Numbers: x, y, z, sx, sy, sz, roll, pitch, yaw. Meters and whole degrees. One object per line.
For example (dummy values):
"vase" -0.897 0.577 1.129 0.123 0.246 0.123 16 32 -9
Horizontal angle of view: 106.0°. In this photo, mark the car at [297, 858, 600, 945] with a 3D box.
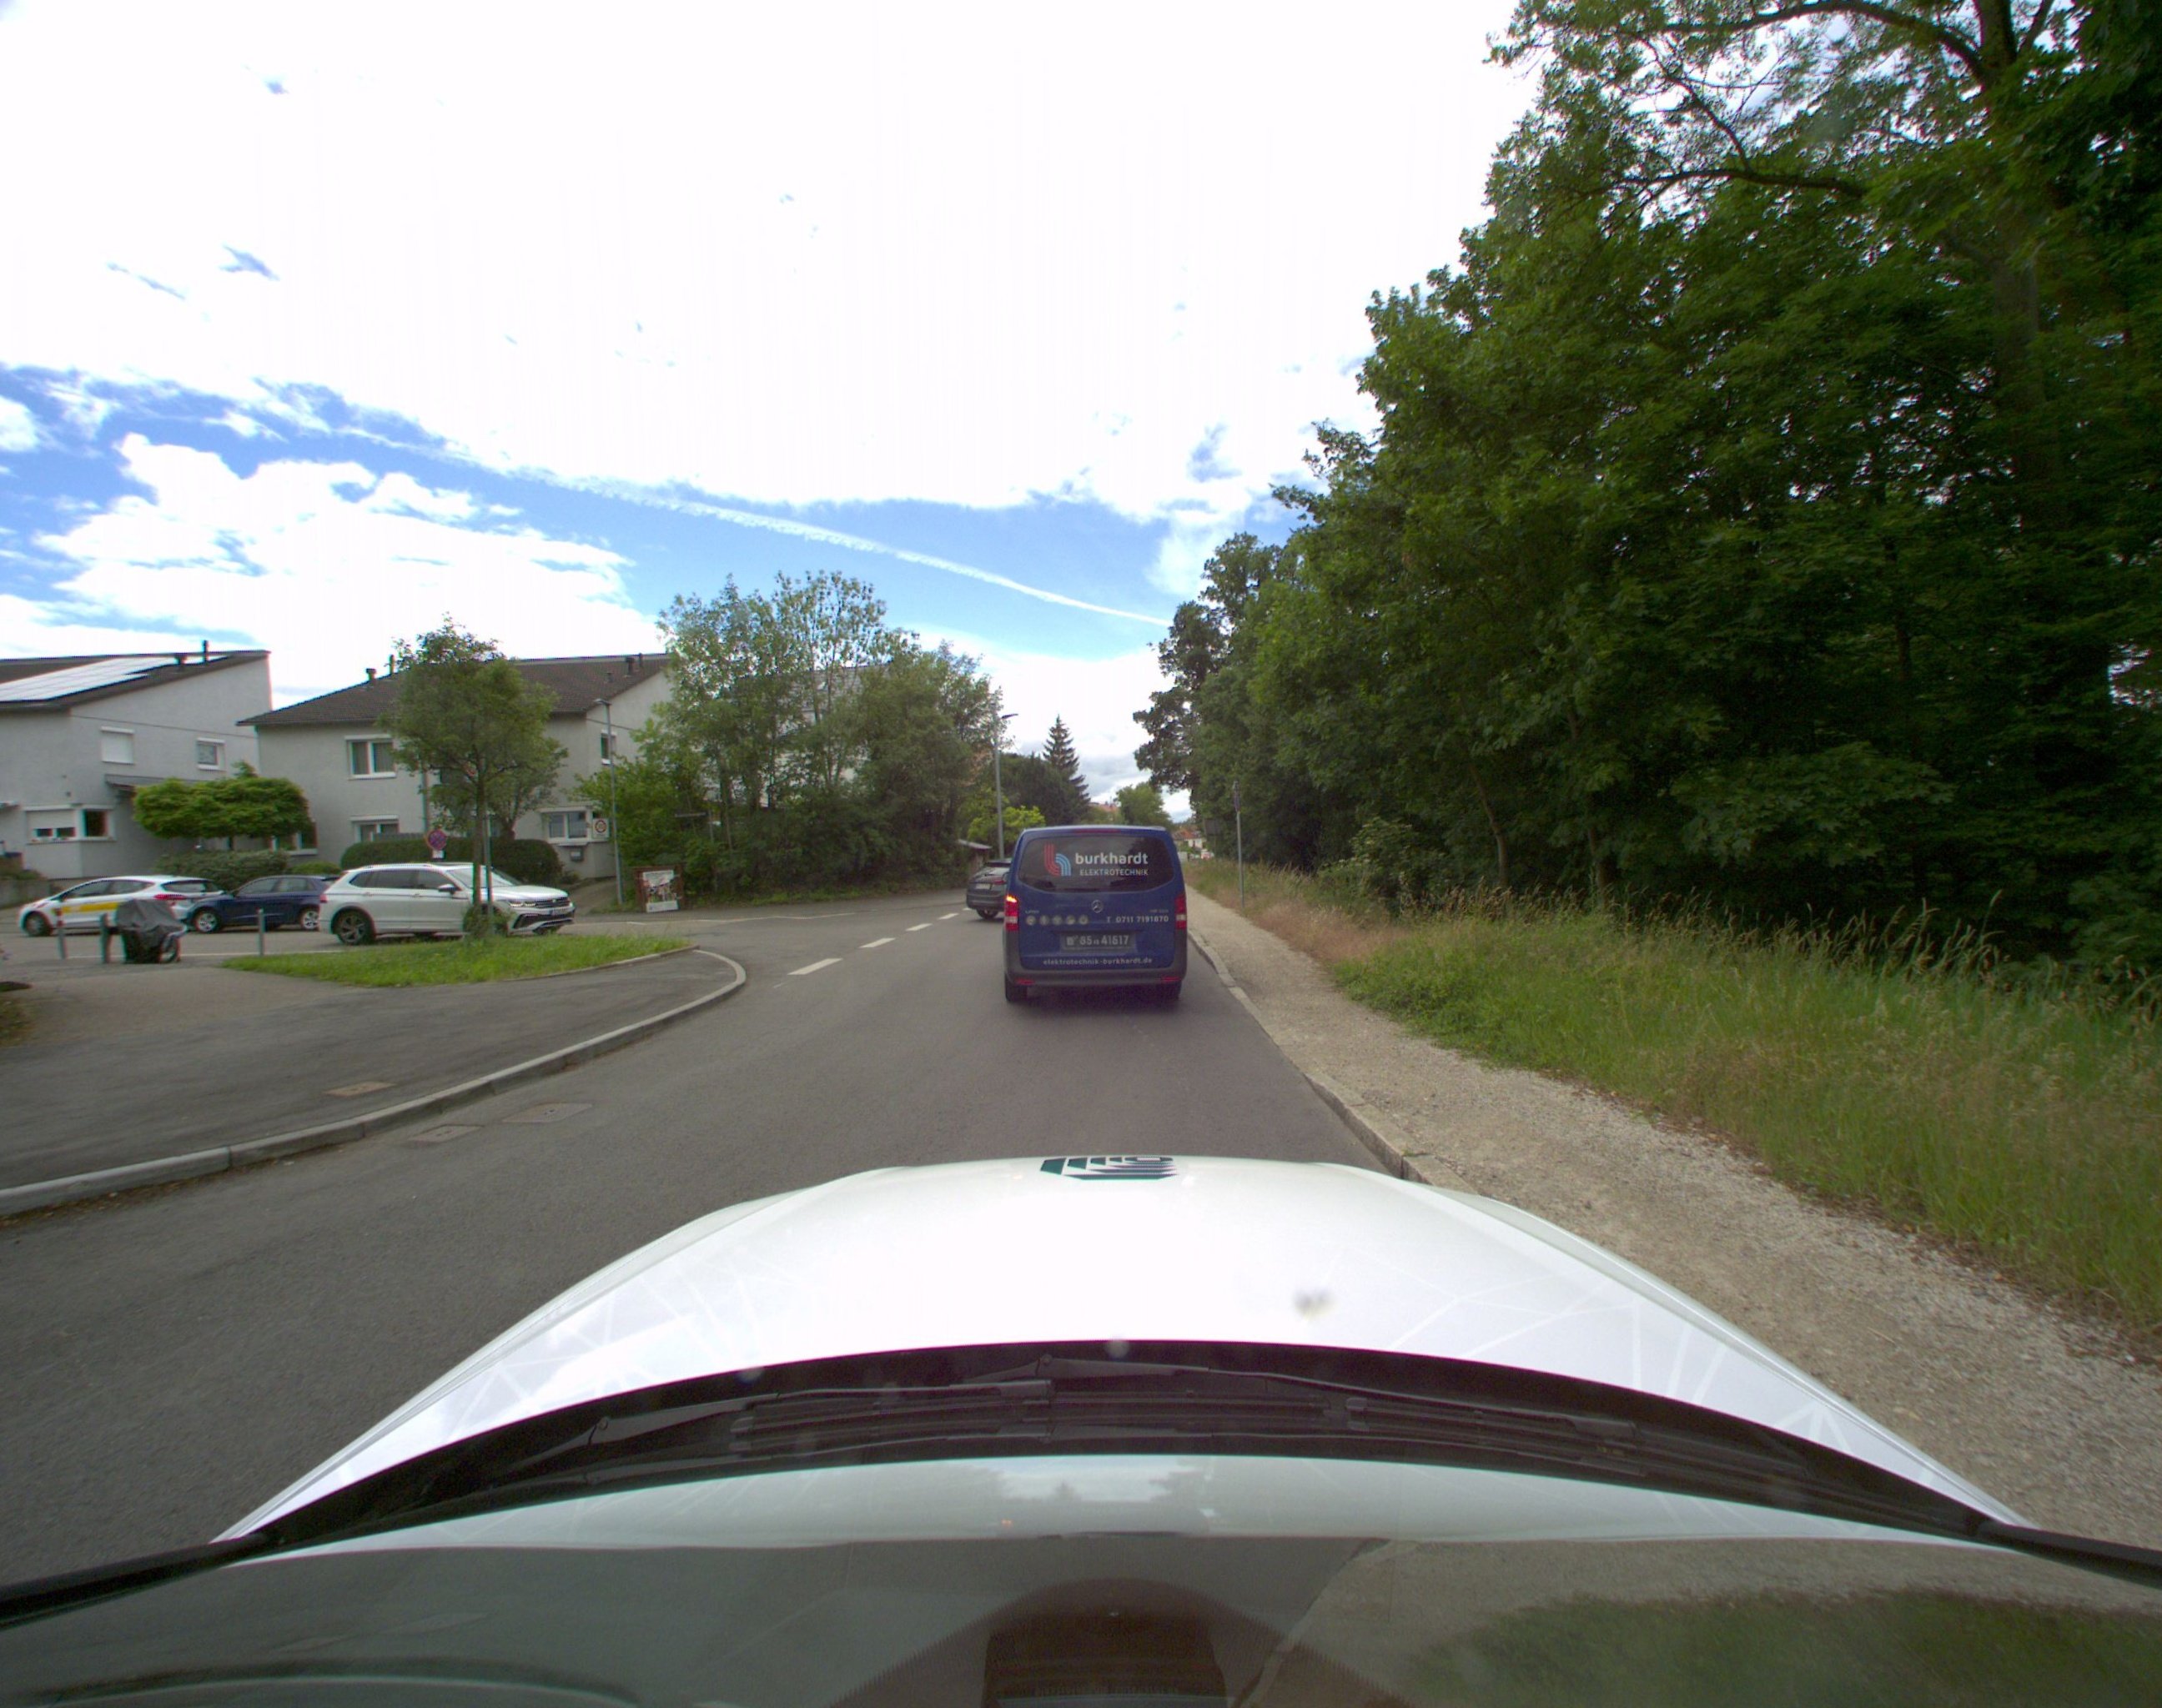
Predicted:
"car" -13.319 0.966 17.371 4.915 1.670 2.039 -1 0 3

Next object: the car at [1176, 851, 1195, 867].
"car" 14.275 0.634 111.209 2.192 2.063 6.151 -1 0 10

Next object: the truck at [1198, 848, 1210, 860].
"truck" 31.242 -0.091 206.538 2.746 2.793 9.295 -1 0 11

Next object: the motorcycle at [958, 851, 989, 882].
"motorcycle" -5.289 0.589 40.121 0.805 1.485 2.901 -1 0 7

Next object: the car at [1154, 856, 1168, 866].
"car" 12.177 1.090 123.987 1.738 1.404 4.012 -1 0 11

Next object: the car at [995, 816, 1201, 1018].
"car" 0.064 0.573 10.001 1.932 1.880 4.526 -1 0 -3

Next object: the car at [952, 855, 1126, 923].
"car" -0.915 0.773 19.846 1.718 1.447 4.205 -1 0 43

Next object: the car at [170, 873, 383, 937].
"car" -20.108 1.249 20.471 3.532 1.412 1.670 -1 0 -4

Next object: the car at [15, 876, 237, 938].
"car" -24.194 1.318 20.728 3.772 1.412 1.530 -1 0 -1

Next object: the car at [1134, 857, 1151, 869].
"car" 7.991 1.161 105.229 1.738 1.404 4.012 -1 0 11

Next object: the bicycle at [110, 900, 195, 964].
"bicycle" -16.667 1.359 14.601 2.551 1.001 0.657 -1 0 34

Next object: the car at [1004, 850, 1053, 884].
"car" -2.385 0.572 38.000 1.698 1.468 4.081 -1 0 5

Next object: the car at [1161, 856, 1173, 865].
"car" 14.062 1.007 133.199 1.738 1.404 4.012 -1 0 11

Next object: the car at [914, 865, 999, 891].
"car" -7.190 1.373 47.206 4.456 1.441 1.882 -1 0 7
